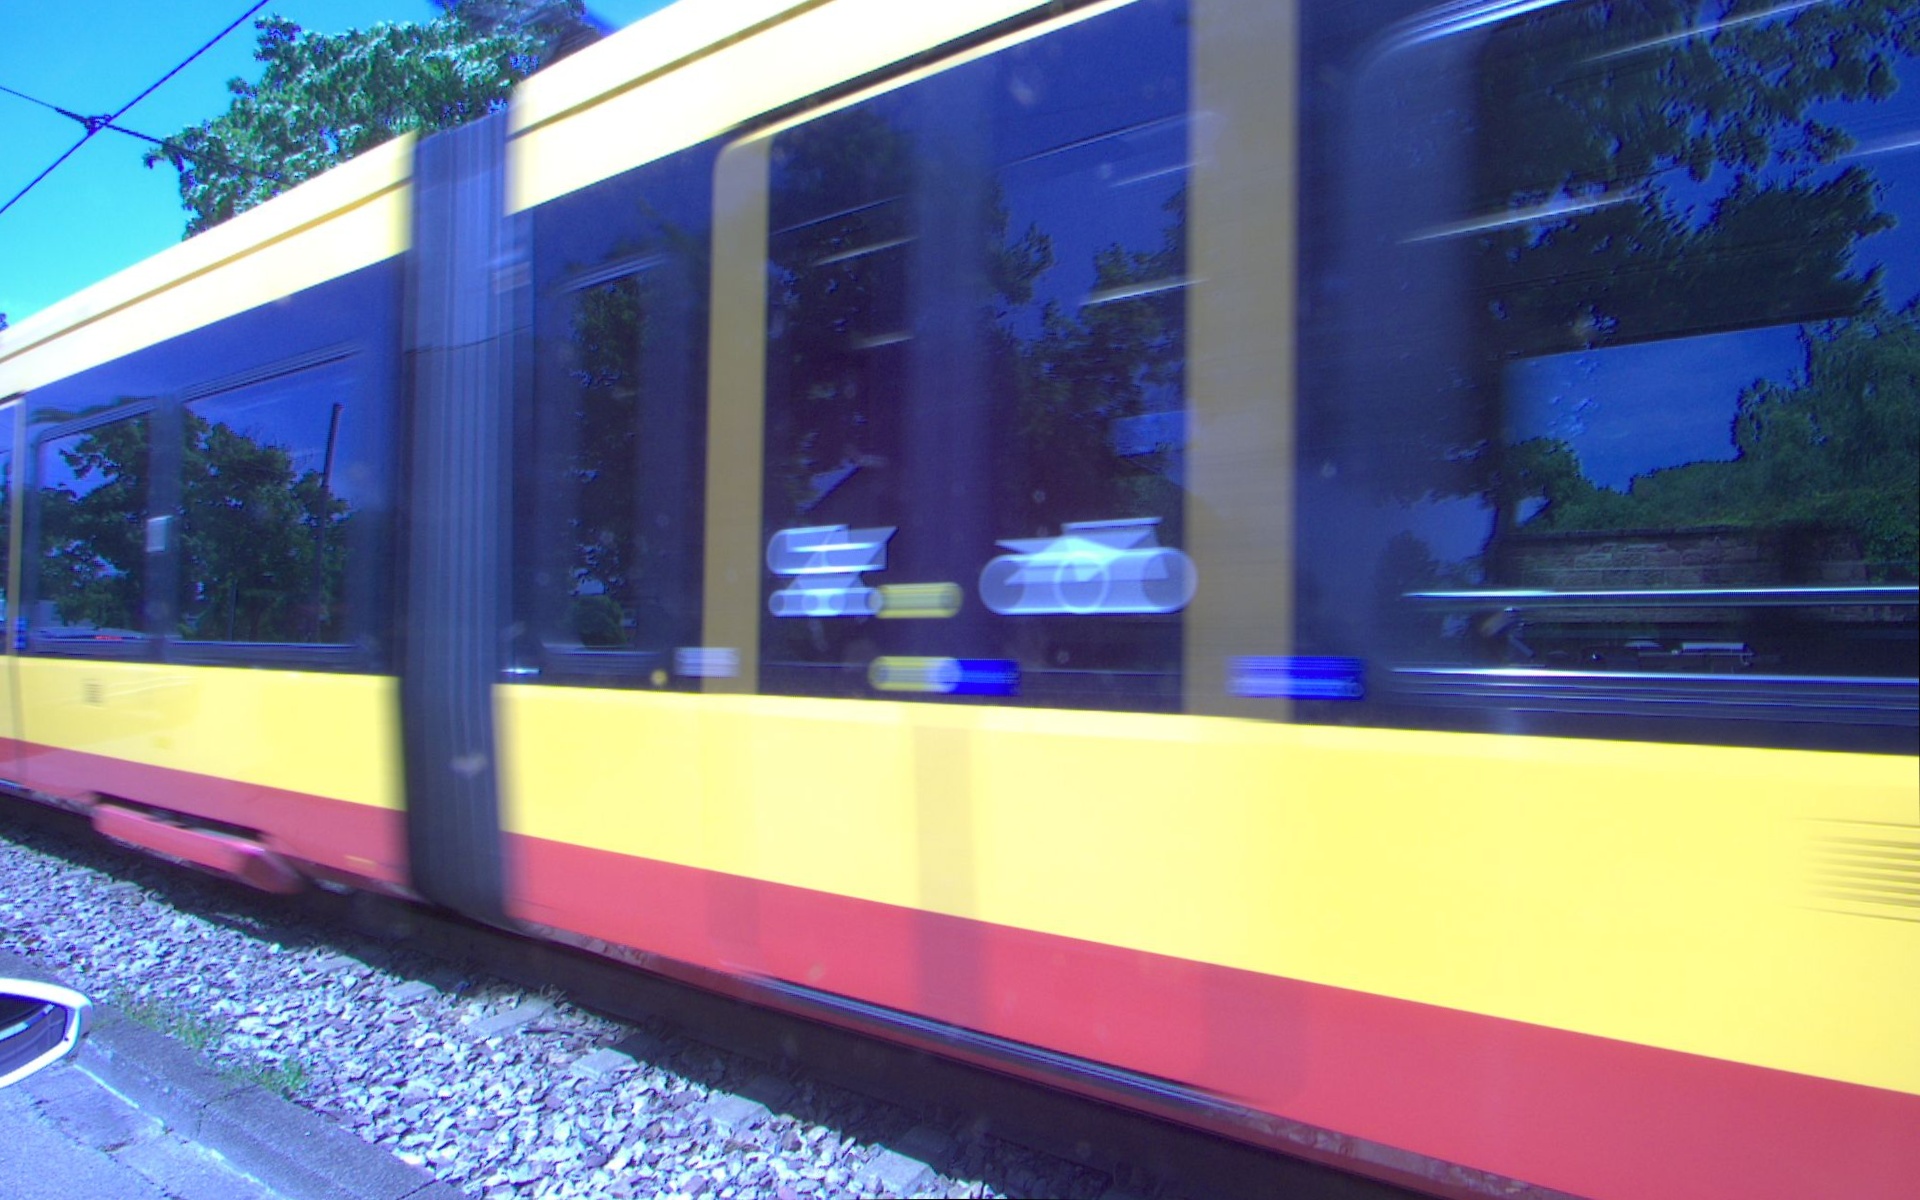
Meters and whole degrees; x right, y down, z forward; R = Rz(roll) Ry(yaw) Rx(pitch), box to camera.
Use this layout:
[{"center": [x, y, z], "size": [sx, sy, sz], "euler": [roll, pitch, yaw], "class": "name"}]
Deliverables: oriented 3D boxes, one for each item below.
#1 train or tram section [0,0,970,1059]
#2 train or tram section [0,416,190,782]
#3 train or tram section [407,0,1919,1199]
[{"center": [-5.216, -0.225, 7.396], "size": [10.795, 3.655, 2.736], "euler": [-1, -2, 33], "class": "train or tram section"}, {"center": [-14.010, 0.054, 13.116], "size": [10.795, 3.655, 2.736], "euler": [-1, -2, 33], "class": "train or tram section"}, {"center": [4.139, -0.326, 1.216], "size": [12.688, 3.655, 2.736], "euler": [-1, -2, 33], "class": "train or tram section"}]
